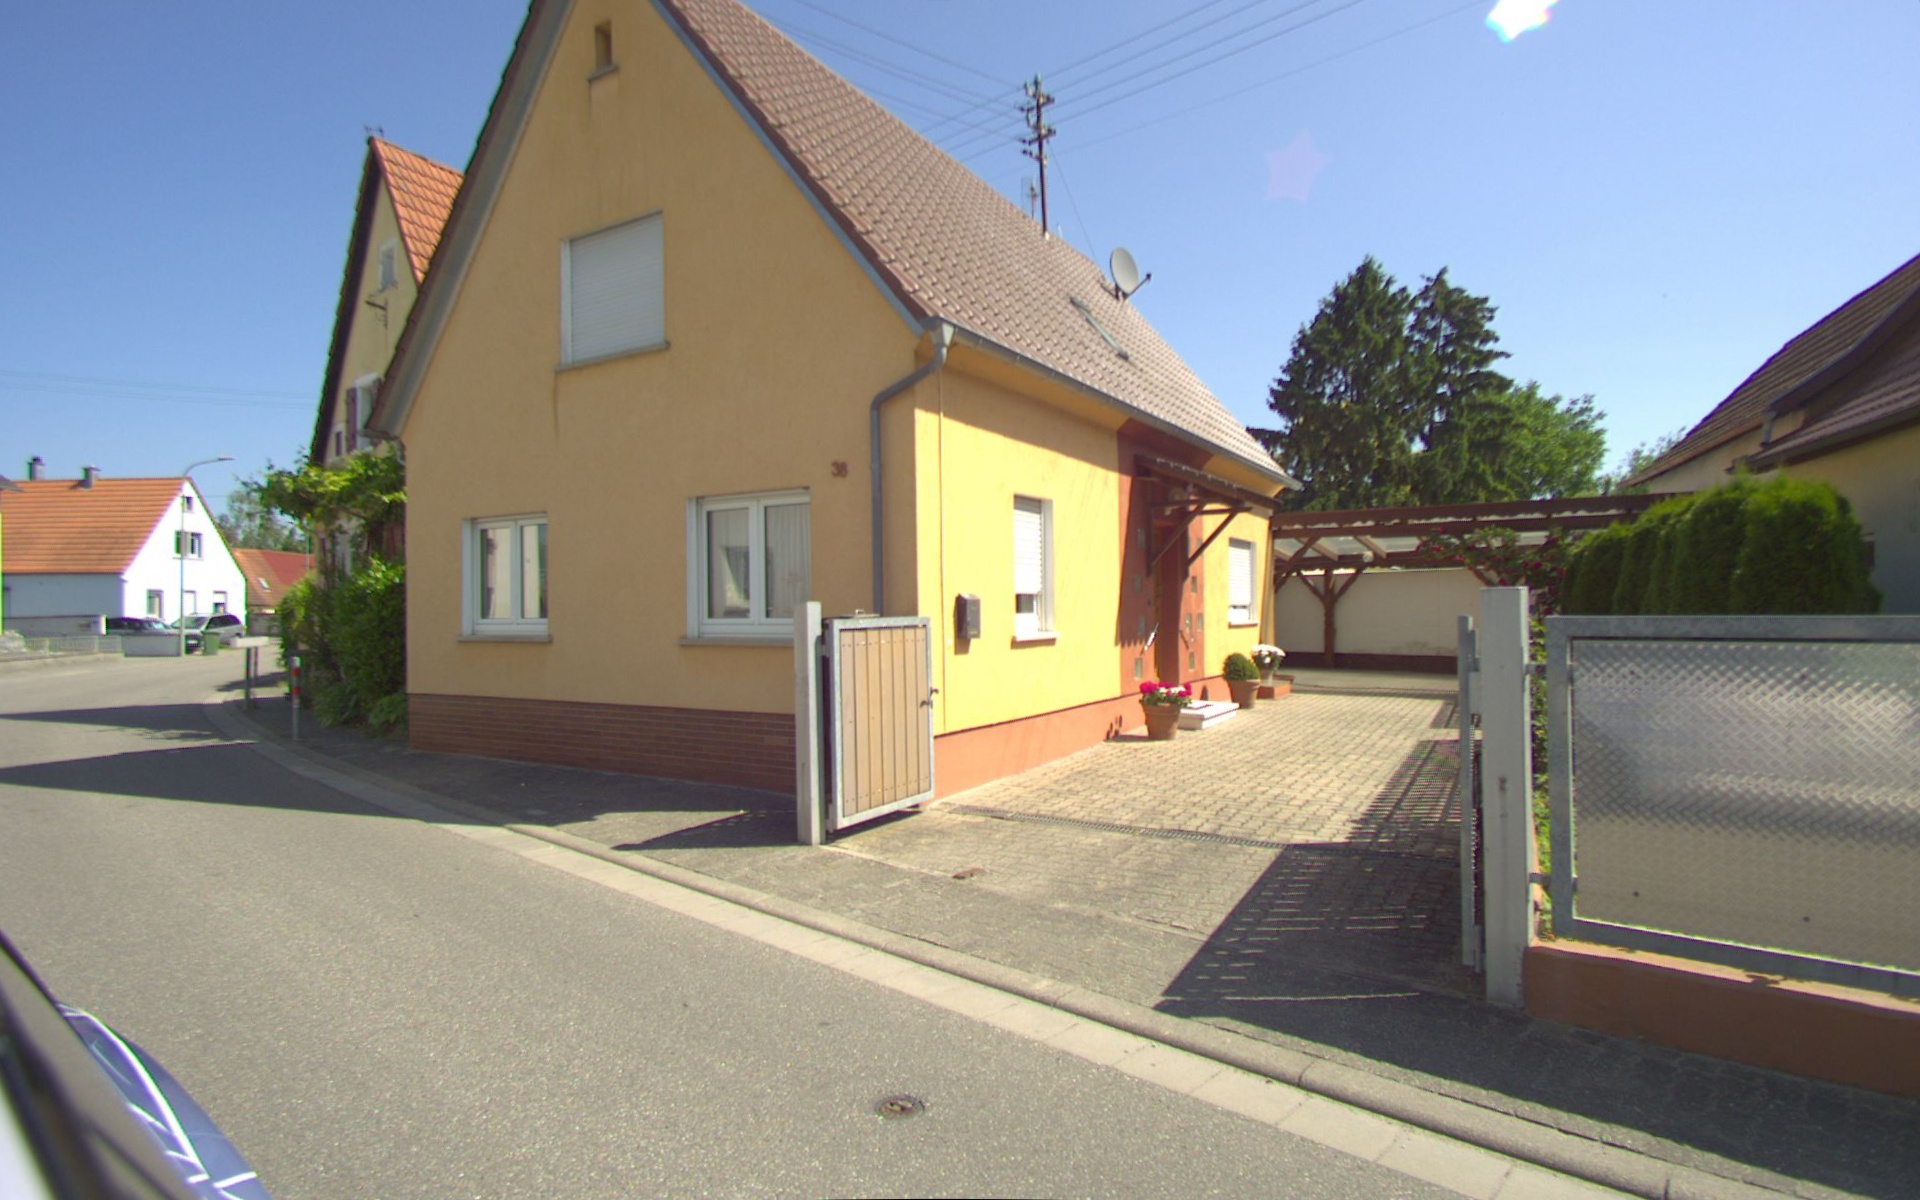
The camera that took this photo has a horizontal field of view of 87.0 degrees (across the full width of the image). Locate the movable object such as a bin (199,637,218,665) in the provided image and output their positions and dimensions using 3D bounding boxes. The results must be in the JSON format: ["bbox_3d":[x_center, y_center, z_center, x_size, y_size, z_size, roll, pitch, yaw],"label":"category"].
[{"bbox_3d":[-31.655,2.142,42.604,0.432,1.152,0.563,-2,-2,41],"label":"movable object such as a bin"}]

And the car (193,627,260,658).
[{"bbox_3d":[-35.858,2.052,49.554,1.499,1.384,3.608,0,-1,-16],"label":"car"}]

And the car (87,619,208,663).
[{"bbox_3d":[-35.308,1.769,44.037,3.945,1.859,1.701,-1,-1,1],"label":"car"}]
